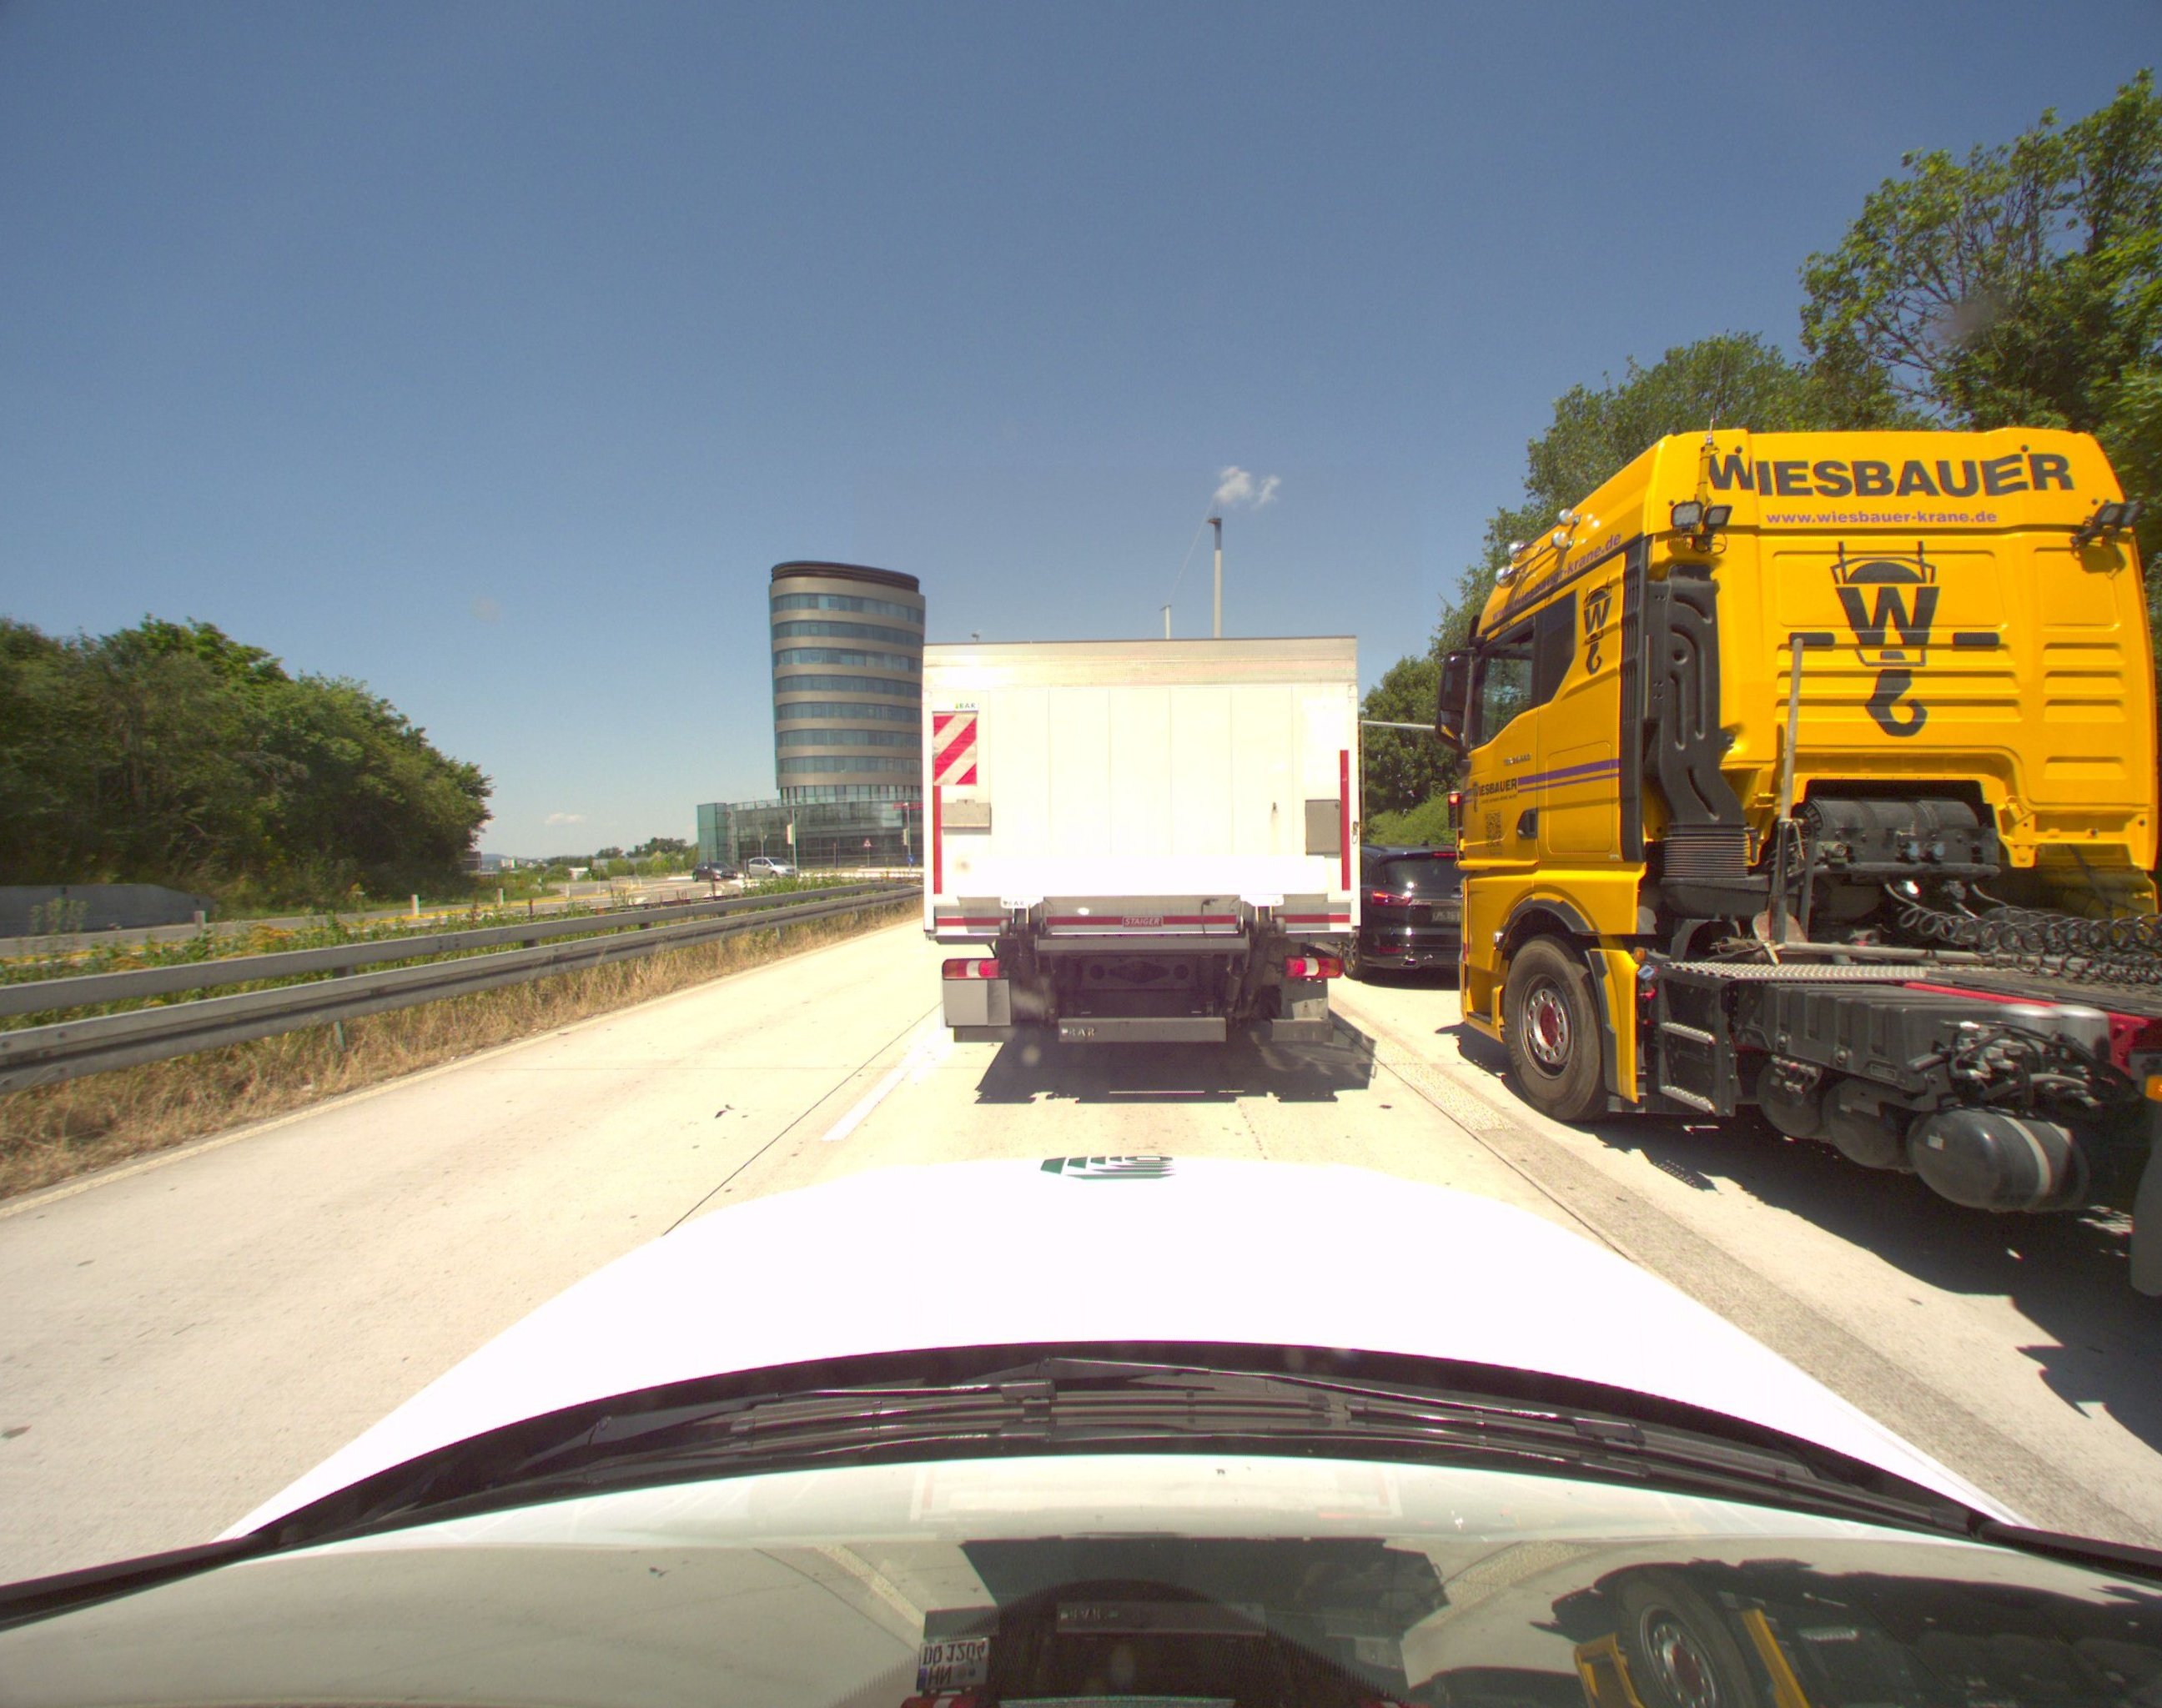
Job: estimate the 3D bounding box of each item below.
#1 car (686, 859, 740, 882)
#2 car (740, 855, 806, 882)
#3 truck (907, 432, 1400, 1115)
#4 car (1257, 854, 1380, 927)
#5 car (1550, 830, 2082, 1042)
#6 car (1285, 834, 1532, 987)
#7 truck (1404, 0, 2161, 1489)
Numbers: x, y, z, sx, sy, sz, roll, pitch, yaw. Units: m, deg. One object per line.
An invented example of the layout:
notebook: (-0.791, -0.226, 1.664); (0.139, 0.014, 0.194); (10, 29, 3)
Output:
car: (-26.738, 1.202, 59.096); (4.273, 1.456, 1.708); (-3, -2, 37)
car: (-20.662, 0.984, 54.583); (4.274, 1.595, 1.788); (-3, -2, 29)
truck: (0.551, -0.424, 9.304); (2.759, 3.860, 9.374); (0, -1, 2)
car: (5.151, 0.731, 18.261); (1.759, 1.410, 4.615); (0, 0, 5)
car: (7.729, 0.722, 9.423); (1.763, 1.807, 4.789); (0, -1, -2)
car: (4.107, 0.631, 11.112); (1.776, 1.639, 4.652); (0, -1, 4)
truck: (3.928, -0.465, 2.448); (3.003, 3.772, 7.470); (0, 0, 1)
